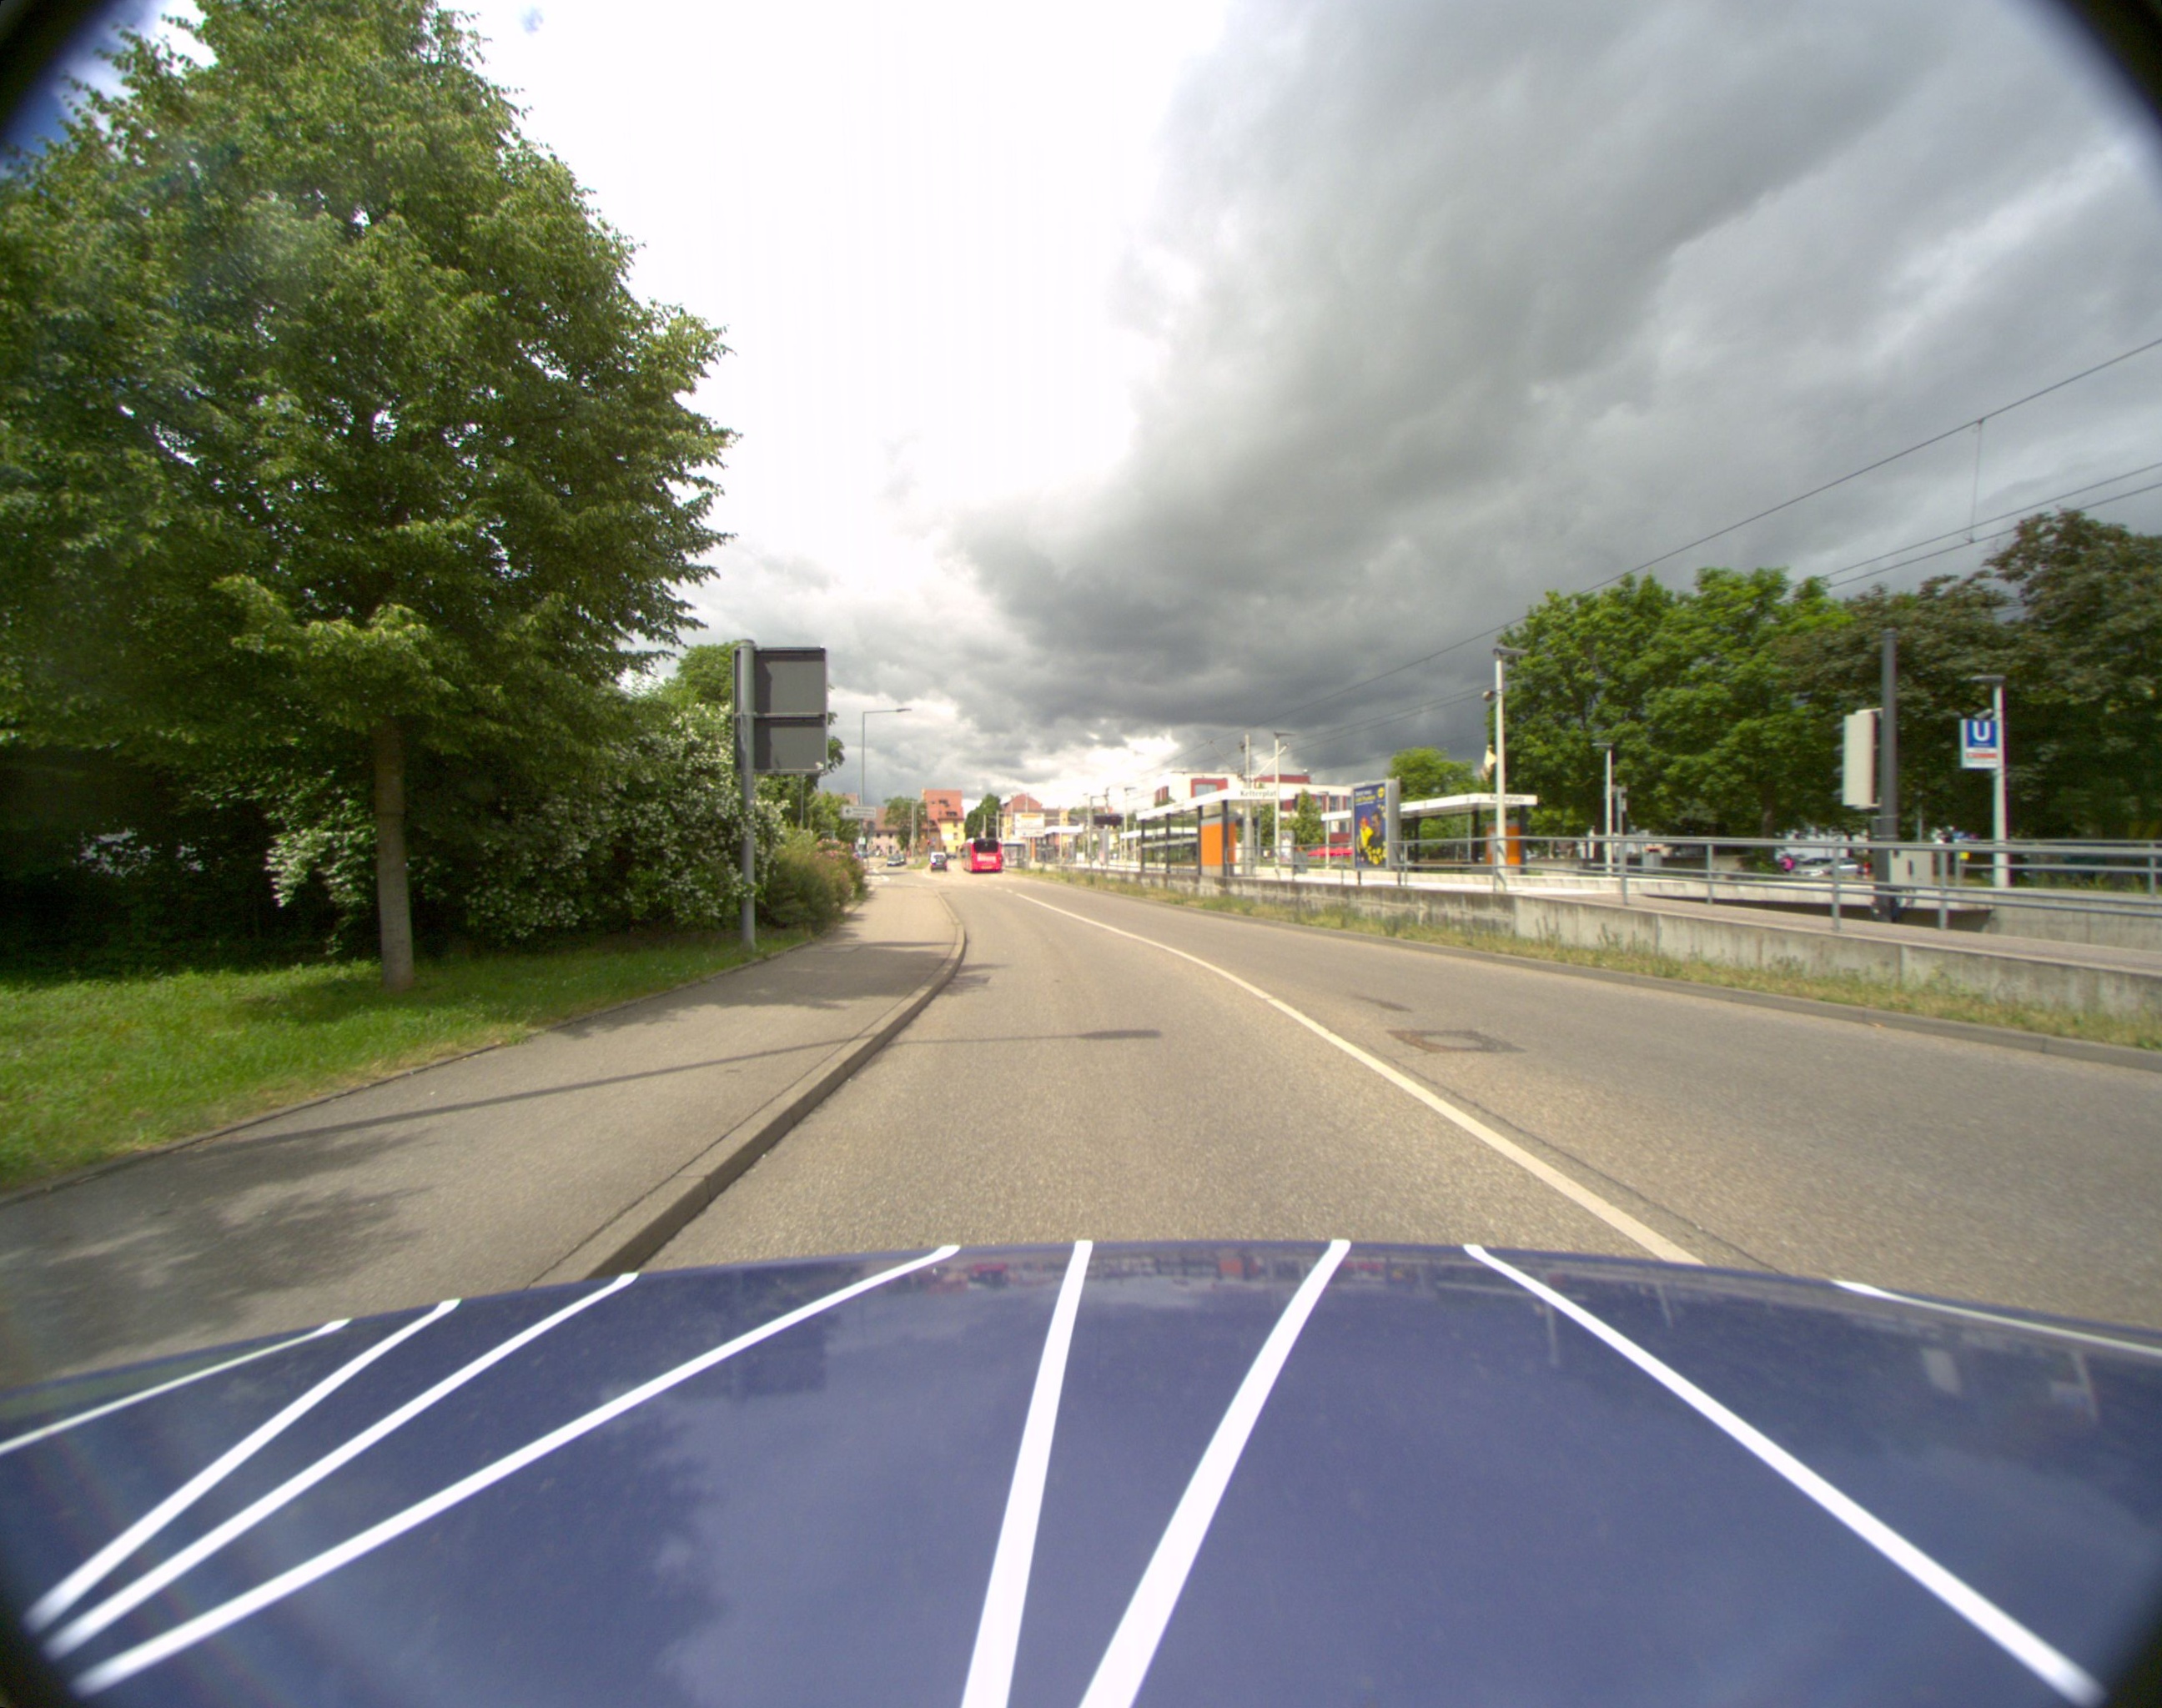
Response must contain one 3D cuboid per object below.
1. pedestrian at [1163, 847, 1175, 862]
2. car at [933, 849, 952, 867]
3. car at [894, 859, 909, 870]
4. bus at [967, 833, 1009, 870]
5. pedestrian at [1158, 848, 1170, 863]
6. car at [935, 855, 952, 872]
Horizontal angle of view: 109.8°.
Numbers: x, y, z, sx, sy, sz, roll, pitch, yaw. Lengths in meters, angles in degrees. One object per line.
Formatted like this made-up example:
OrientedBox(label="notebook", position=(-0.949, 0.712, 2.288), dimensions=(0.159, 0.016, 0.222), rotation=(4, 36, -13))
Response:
OrientedBox(label="pedestrian", position=(7.467, 0.059, 64.575), dimensions=(0.759, 1.284, 1.111), rotation=(0, 0, -10))
OrientedBox(label="car", position=(-14.999, 0.413, 82.026), dimensions=(1.768, 1.652, 4.503), rotation=(1, -4, -14))
OrientedBox(label="car", position=(-24.373, 1.396, 103.013), dimensions=(1.884, 1.420, 3.996), rotation=(0, -1, -14))
OrientedBox(label="bus", position=(-8.487, -0.130, 68.222), dimensions=(2.736, 3.051, 8.954), rotation=(0, -1, -13))
OrientedBox(label="pedestrian", position=(7.212, 0.087, 65.759), dimensions=(0.759, 1.284, 1.111), rotation=(0, 0, -10))
OrientedBox(label="car", position=(-13.495, 0.957, 74.710), dimensions=(1.535, 1.542, 3.729), rotation=(-2, 1, -9))
